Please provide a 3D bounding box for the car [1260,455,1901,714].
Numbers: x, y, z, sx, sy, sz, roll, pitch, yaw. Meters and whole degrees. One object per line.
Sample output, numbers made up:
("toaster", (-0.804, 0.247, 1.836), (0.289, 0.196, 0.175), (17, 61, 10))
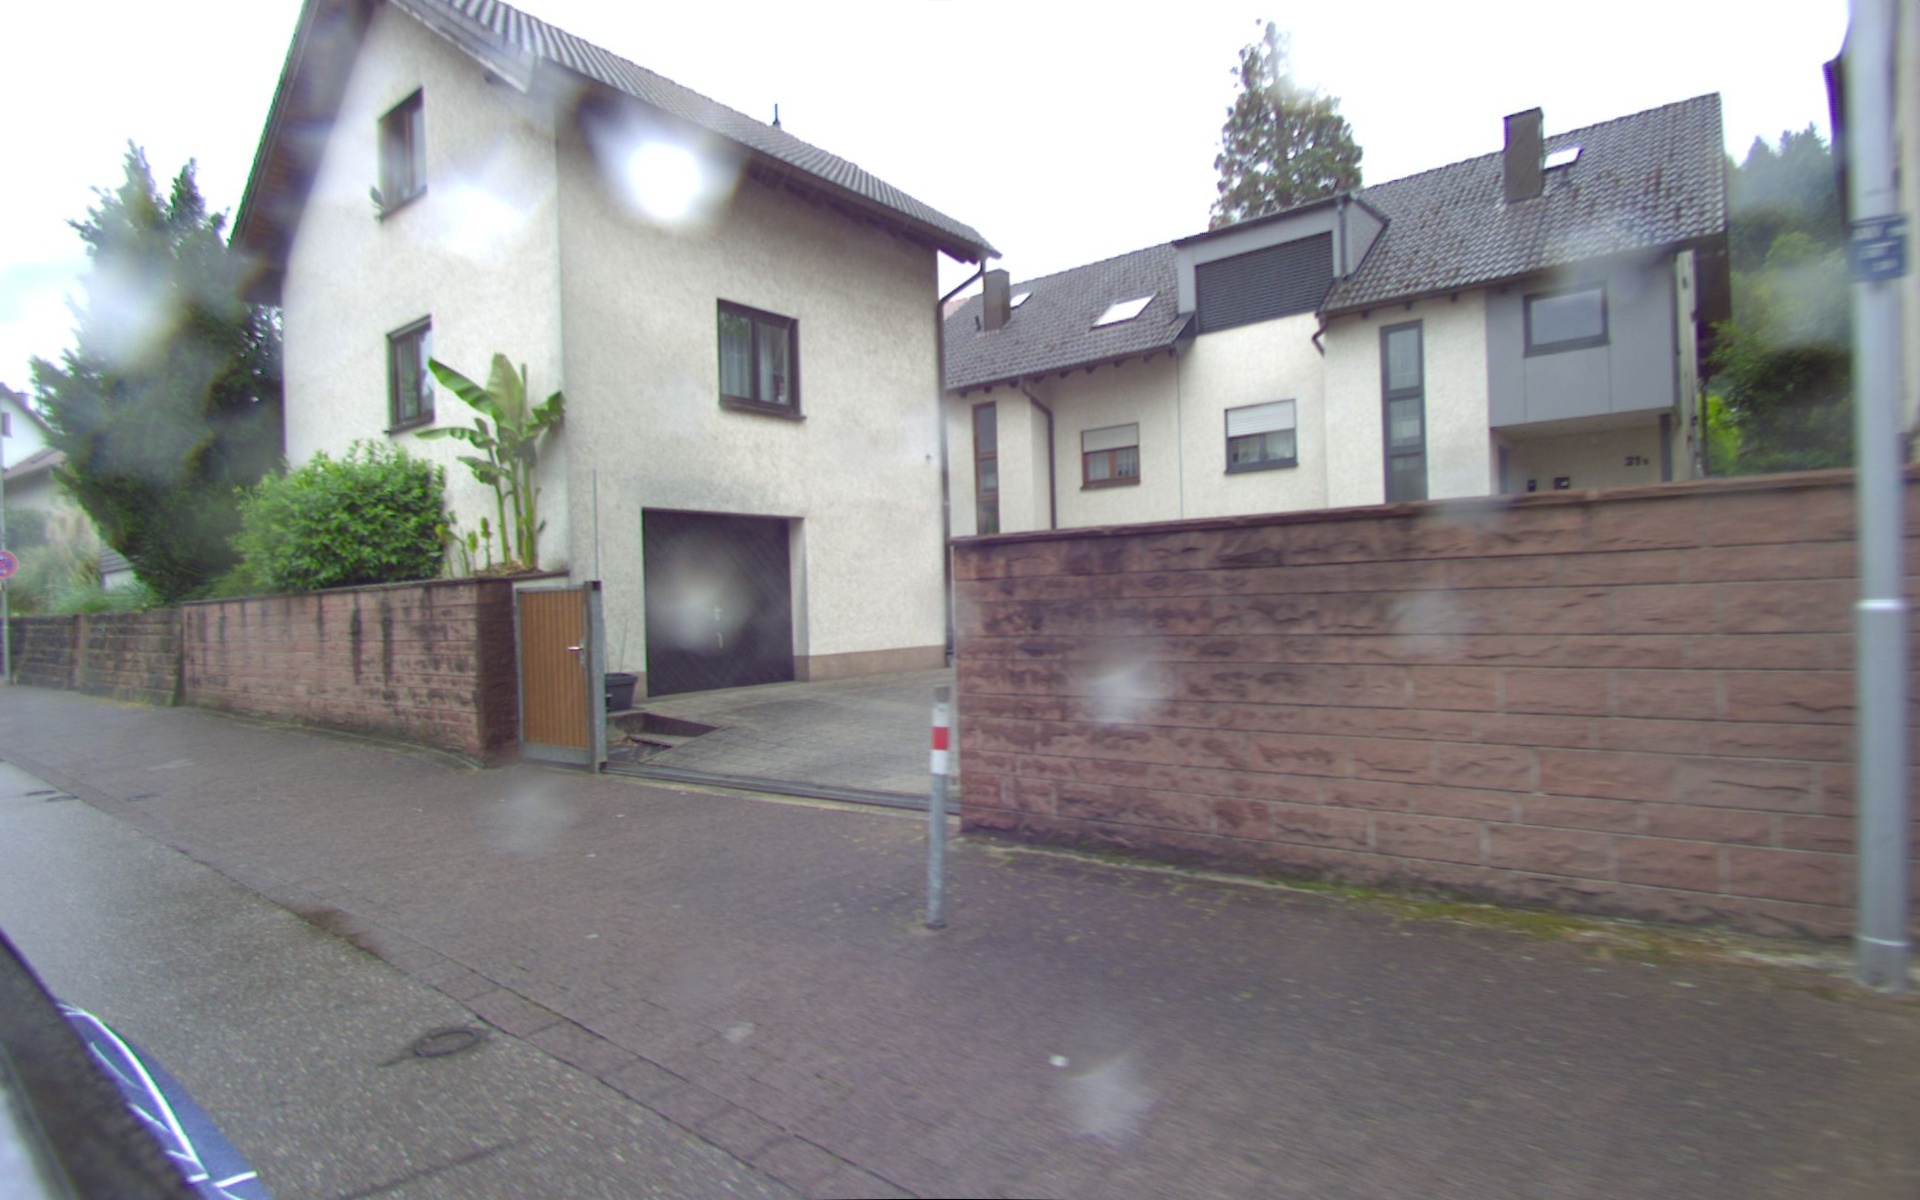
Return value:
("car", (5.150, 0.022, 8.934), (4.297, 1.729, 1.968), (-5, -2, 37))
